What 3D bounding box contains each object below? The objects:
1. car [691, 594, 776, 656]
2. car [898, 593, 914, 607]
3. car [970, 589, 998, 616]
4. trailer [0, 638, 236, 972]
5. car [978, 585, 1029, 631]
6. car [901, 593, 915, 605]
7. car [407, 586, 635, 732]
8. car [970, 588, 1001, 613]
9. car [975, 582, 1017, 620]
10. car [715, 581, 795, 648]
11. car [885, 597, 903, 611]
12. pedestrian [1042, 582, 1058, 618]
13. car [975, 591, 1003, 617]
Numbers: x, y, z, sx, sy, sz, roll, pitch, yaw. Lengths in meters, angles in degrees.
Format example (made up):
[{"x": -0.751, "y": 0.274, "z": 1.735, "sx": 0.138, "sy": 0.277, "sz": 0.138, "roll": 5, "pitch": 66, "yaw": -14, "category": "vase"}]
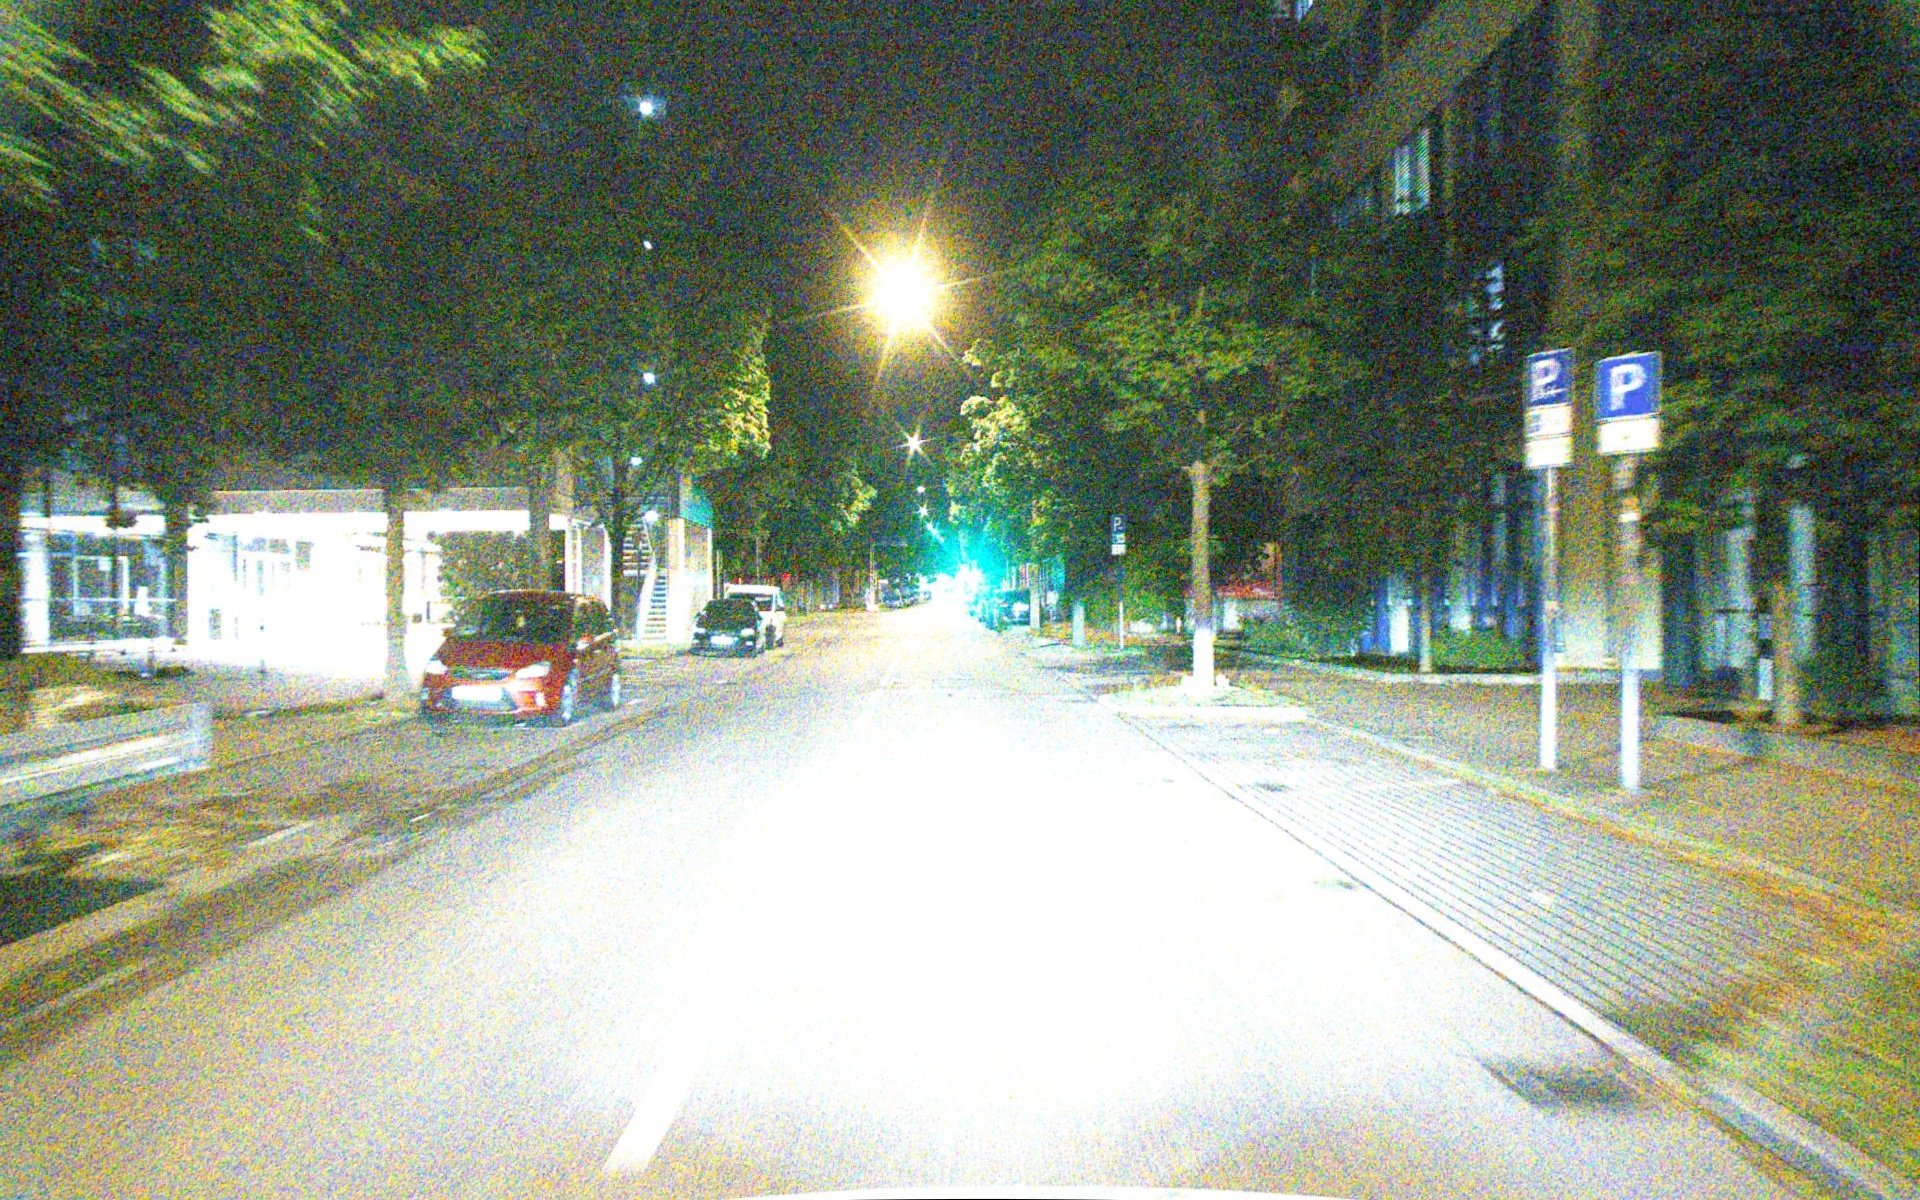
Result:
[{"x": -5.945, "y": 0.630, "z": 43.695, "sx": 1.665, "sy": 1.458, "sz": 3.828, "roll": 3, "pitch": 0, "yaw": 0, "category": "car"}, {"x": -6.088, "y": 0.037, "z": 186.168, "sx": 1.705, "sy": 1.440, "sz": 3.752, "roll": 0, "pitch": 2, "yaw": -1, "category": "car"}, {"x": 1.454, "y": 0.137, "z": 101.346, "sx": 1.559, "sy": 1.561, "sz": 4.137, "roll": -2, "pitch": 0, "yaw": -1, "category": "car"}, {"x": -5.207, "y": 0.912, "z": 6.728, "sx": 2.067, "sy": 1.358, "sz": 5.435, "roll": 2, "pitch": 0, "yaw": 0, "category": "trailer"}, {"x": 1.644, "y": 0.294, "z": 64.216, "sx": 1.815, "sy": 1.683, "sz": 4.209, "roll": -1, "pitch": 0, "yaw": 0, "category": "car"}, {"x": -6.718, "y": -0.139, "z": 215.130, "sx": 1.705, "sy": 1.440, "sz": 3.751, "roll": 0, "pitch": 0, "yaw": -1, "category": "car"}, {"x": -5.557, "y": 0.676, "z": 21.470, "sx": 1.785, "sy": 1.626, "sz": 4.073, "roll": 3, "pitch": 0, "yaw": 0, "category": "car"}, {"x": 1.656, "y": 0.023, "z": 108.838, "sx": 1.815, "sy": 1.618, "sz": 4.299, "roll": -1, "pitch": 0, "yaw": -1, "category": "car"}, {"x": 1.820, "y": 0.055, "z": 84.843, "sx": 1.736, "sy": 1.838, "sz": 4.275, "roll": -2, "pitch": 0, "yaw": -3, "category": "car"}, {"x": -6.107, "y": 0.408, "z": 49.630, "sx": 1.785, "sy": 1.843, "sz": 4.210, "roll": 3, "pitch": 0, "yaw": 0, "category": "car"}, {"x": -6.877, "y": 0.361, "z": 172.109, "sx": 1.705, "sy": 1.440, "sz": 3.751, "roll": 0, "pitch": 0, "yaw": -1, "category": "car"}, {"x": 4.348, "y": 0.001, "z": 79.953, "sx": 0.691, "sy": 1.752, "sz": 0.821, "roll": -2, "pitch": 0, "yaw": -1, "category": "pedestrian"}, {"x": 1.624, "y": 0.203, "z": 92.612, "sx": 1.489, "sy": 1.420, "sz": 3.984, "roll": -2, "pitch": 0, "yaw": 0, "category": "car"}]
